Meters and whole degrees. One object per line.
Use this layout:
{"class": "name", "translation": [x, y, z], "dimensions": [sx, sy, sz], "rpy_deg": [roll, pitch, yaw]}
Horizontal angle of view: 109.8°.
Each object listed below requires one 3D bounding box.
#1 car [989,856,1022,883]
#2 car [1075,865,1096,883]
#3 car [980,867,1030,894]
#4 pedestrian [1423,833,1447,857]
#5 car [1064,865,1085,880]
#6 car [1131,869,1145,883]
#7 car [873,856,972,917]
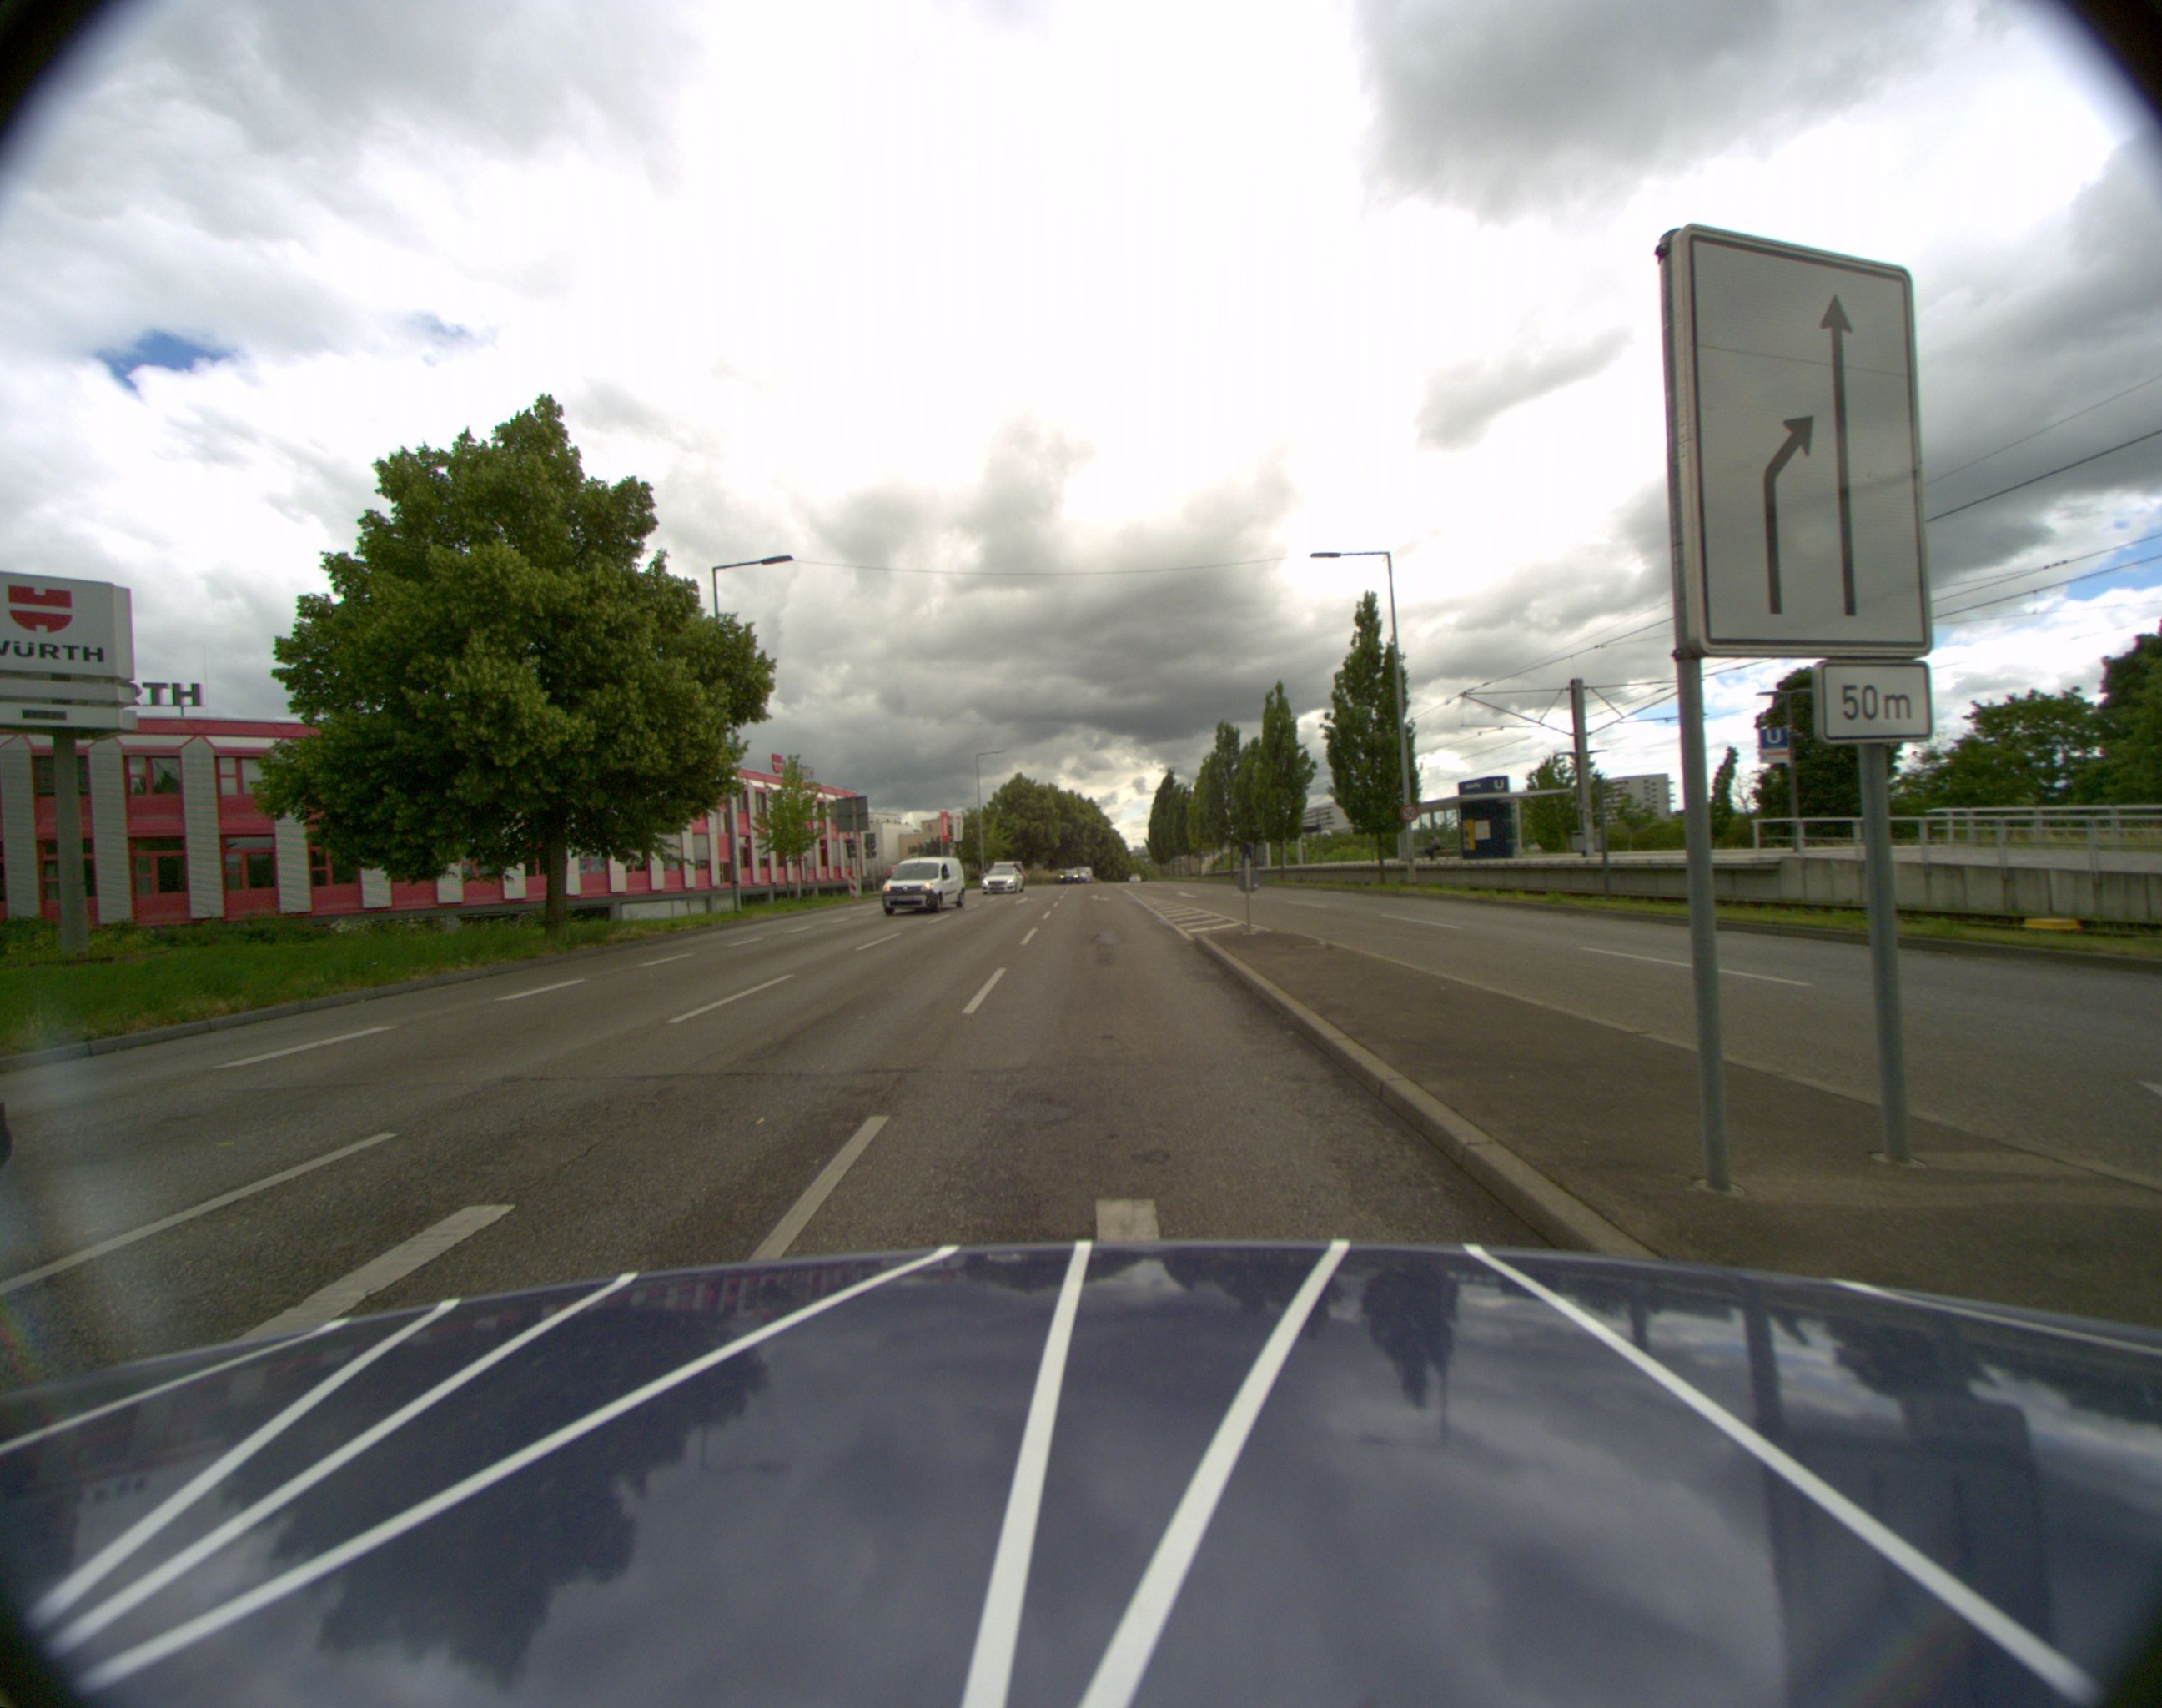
{"class": "car", "translation": [-5.800, 1.257, 58.857], "dimensions": [2.184, 1.893, 4.456], "rpy_deg": [-2, -3, -1]}
{"class": "car", "translation": [0.571, 2.299, 88.398], "dimensions": [1.949, 1.895, 5.239], "rpy_deg": [-2, 1, 5]}
{"class": "car", "translation": [-4.107, 1.487, 41.770], "dimensions": [1.812, 1.332, 4.226], "rpy_deg": [-2, -3, 6]}
{"class": "pedestrian", "translation": [17.776, -0.460, 38.165], "dimensions": [0.751, 1.169, 0.837], "rpy_deg": [-2, 1, 0]}
{"class": "car", "translation": [-0.632, 1.902, 76.119], "dimensions": [1.813, 1.332, 4.225], "rpy_deg": [-2, -3, 2]}
{"class": "car", "translation": [8.891, 3.376, 118.995], "dimensions": [1.998, 2.002, 4.000], "rpy_deg": [-2, 0, 3]}
{"class": "car", "translation": [-5.131, 1.008, 25.289], "dimensions": [1.812, 1.781, 4.699], "rpy_deg": [-2, -1, 6]}
